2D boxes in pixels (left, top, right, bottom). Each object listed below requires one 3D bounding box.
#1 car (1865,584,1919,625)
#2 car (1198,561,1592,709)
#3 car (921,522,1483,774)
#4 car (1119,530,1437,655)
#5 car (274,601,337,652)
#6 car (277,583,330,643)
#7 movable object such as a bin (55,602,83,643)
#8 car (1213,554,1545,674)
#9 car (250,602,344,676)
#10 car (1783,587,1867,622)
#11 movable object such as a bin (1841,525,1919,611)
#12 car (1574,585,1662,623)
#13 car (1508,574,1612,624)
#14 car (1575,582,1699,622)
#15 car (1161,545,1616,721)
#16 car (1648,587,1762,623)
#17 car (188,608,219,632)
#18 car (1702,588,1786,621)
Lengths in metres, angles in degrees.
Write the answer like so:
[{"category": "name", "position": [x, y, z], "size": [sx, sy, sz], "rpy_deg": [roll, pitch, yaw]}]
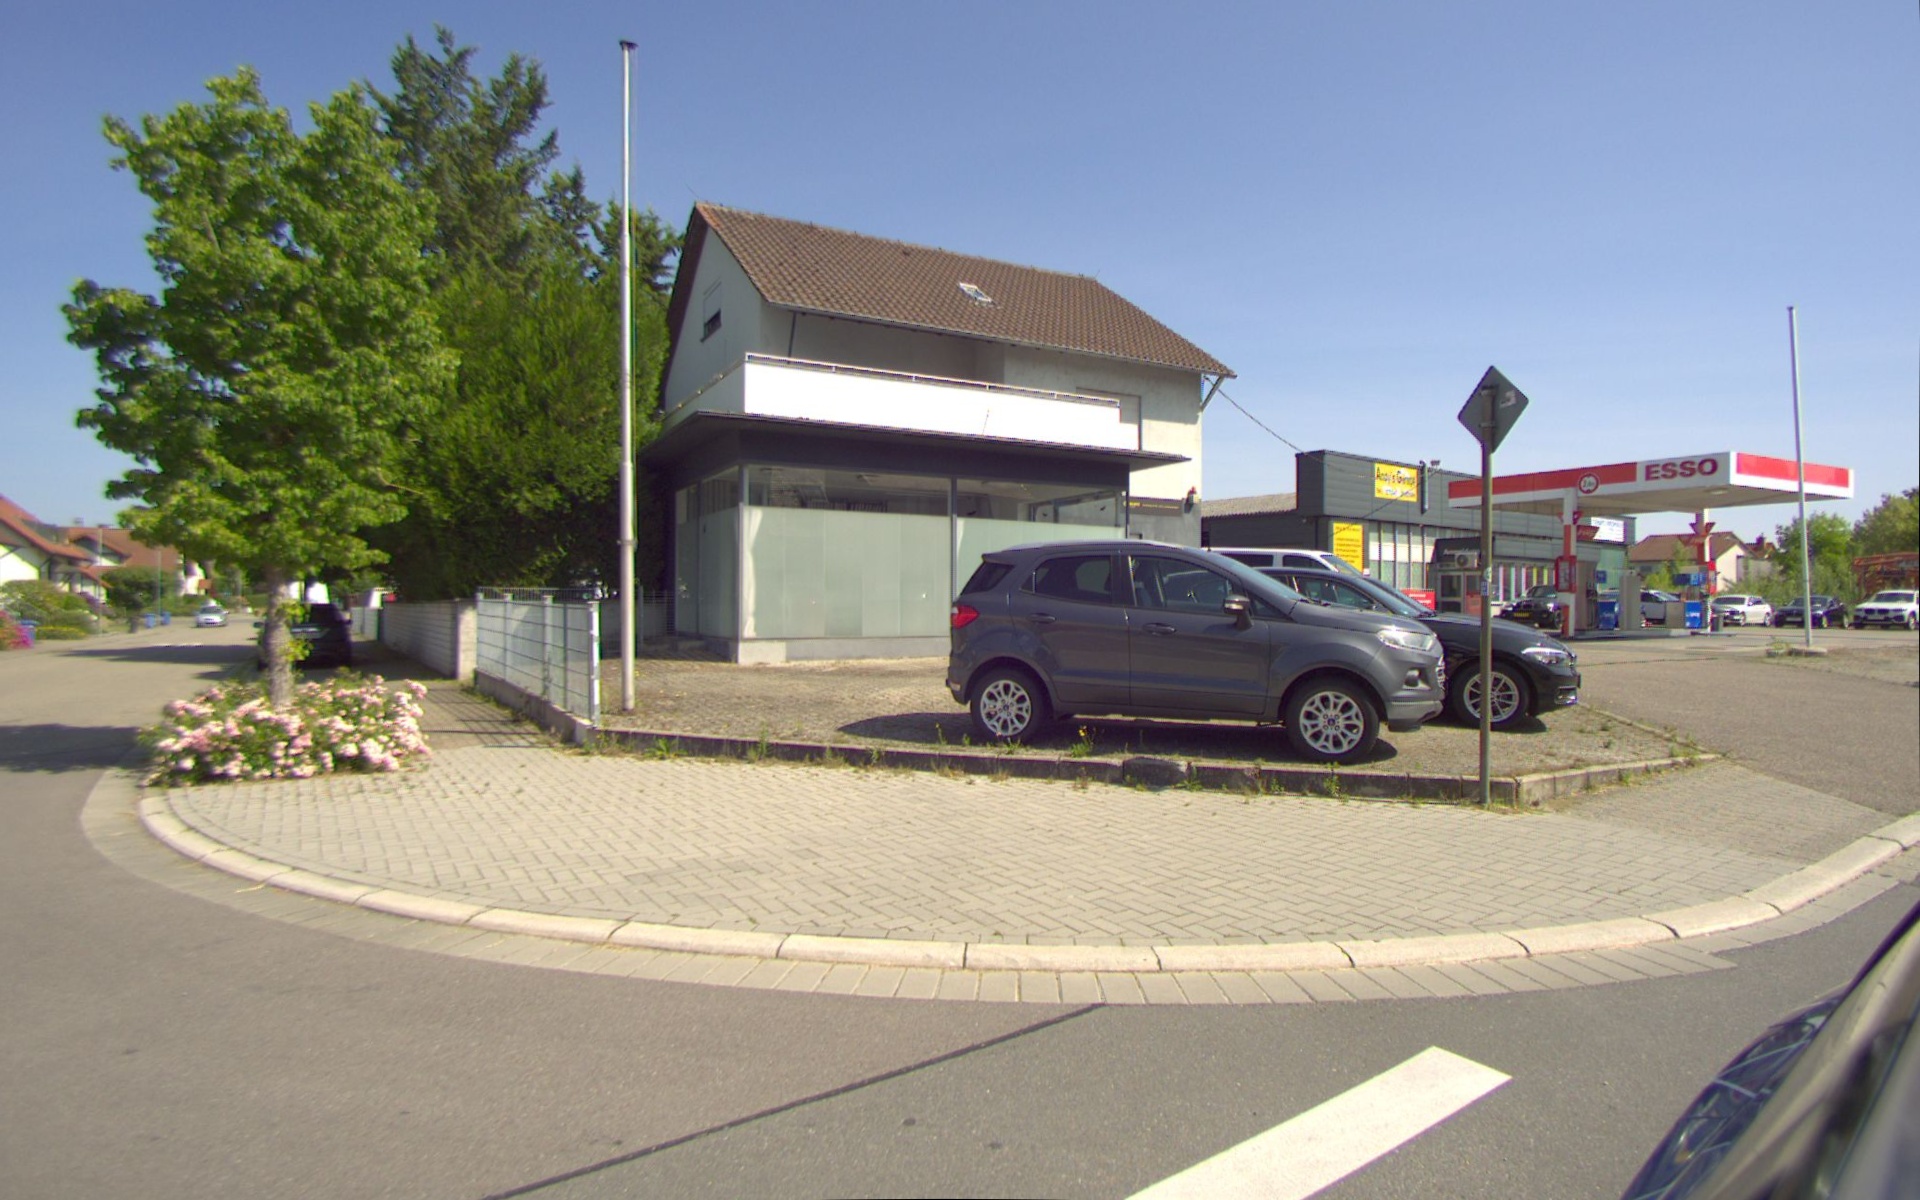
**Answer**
[{"category": "car", "position": [39.748, 0.150, 42.251], "size": [4.256, 1.612, 2.005], "rpy_deg": [-1, 0, -35]}, {"category": "car", "position": [5.263, 0.371, 12.620], "size": [4.194, 1.586, 1.967], "rpy_deg": [1, -1, 25]}, {"category": "car", "position": [1.903, 0.333, 8.329], "size": [4.065, 1.674, 1.818], "rpy_deg": [-1, 0, 22]}, {"category": "car", "position": [5.852, -0.117, 18.947], "size": [5.253, 2.039, 2.203], "rpy_deg": [-1, 0, 36]}, {"category": "car", "position": [-22.561, 0.942, 34.808], "size": [1.609, 1.558, 3.901], "rpy_deg": [-1, -3, -36]}, {"category": "car", "position": [-29.923, 0.579, 46.068], "size": [1.812, 2.568, 3.902], "rpy_deg": [-1, 0, -36]}, {"category": "movable object such as a bin", "position": [-46.594, 1.171, 52.929], "size": [1.007, 2.059, 0.916], "rpy_deg": [-1, -3, -38]}, {"category": "car", "position": [6.121, 0.196, 15.034], "size": [4.274, 1.570, 1.966], "rpy_deg": [-1, 0, 27]}, {"category": "car", "position": [-15.142, 0.841, 23.044], "size": [1.609, 1.499, 3.903], "rpy_deg": [-1, 0, -36]}, {"category": "car", "position": [37.892, 0.186, 44.321], "size": [3.924, 1.404, 1.847], "rpy_deg": [-1, 0, -35]}, {"category": "movable object such as a bin", "position": [49.456, -1.579, 44.520], "size": [2.718, 4.069, 16.121], "rpy_deg": [-1, 0, -29]}, {"category": "car", "position": [27.350, 0.162, 42.014], "size": [4.052, 1.450, 1.797], "rpy_deg": [-1, 0, -38]}, {"category": "car", "position": [22.709, -0.010, 38.227], "size": [4.731, 1.764, 1.808], "rpy_deg": [1, -2, -39]}, {"category": "car", "position": [29.805, 0.083, 44.682], "size": [1.776, 1.655, 4.156], "rpy_deg": [-1, 0, -32]}, {"category": "car", "position": [4.116, 0.288, 10.076], "size": [3.835, 1.465, 1.735], "rpy_deg": [-1, 0, 27]}, {"category": "car", "position": [33.063, 0.226, 45.003], "size": [1.776, 1.492, 3.692], "rpy_deg": [-1, 0, -32]}, {"category": "car", "position": [-52.677, 1.418, 70.501], "size": [1.609, 1.557, 3.902], "rpy_deg": [-1, -1, -36]}, {"category": "car", "position": [36.418, 0.194, 46.990], "size": [4.293, 1.404, 1.847], "rpy_deg": [-1, 0, -35]}]
